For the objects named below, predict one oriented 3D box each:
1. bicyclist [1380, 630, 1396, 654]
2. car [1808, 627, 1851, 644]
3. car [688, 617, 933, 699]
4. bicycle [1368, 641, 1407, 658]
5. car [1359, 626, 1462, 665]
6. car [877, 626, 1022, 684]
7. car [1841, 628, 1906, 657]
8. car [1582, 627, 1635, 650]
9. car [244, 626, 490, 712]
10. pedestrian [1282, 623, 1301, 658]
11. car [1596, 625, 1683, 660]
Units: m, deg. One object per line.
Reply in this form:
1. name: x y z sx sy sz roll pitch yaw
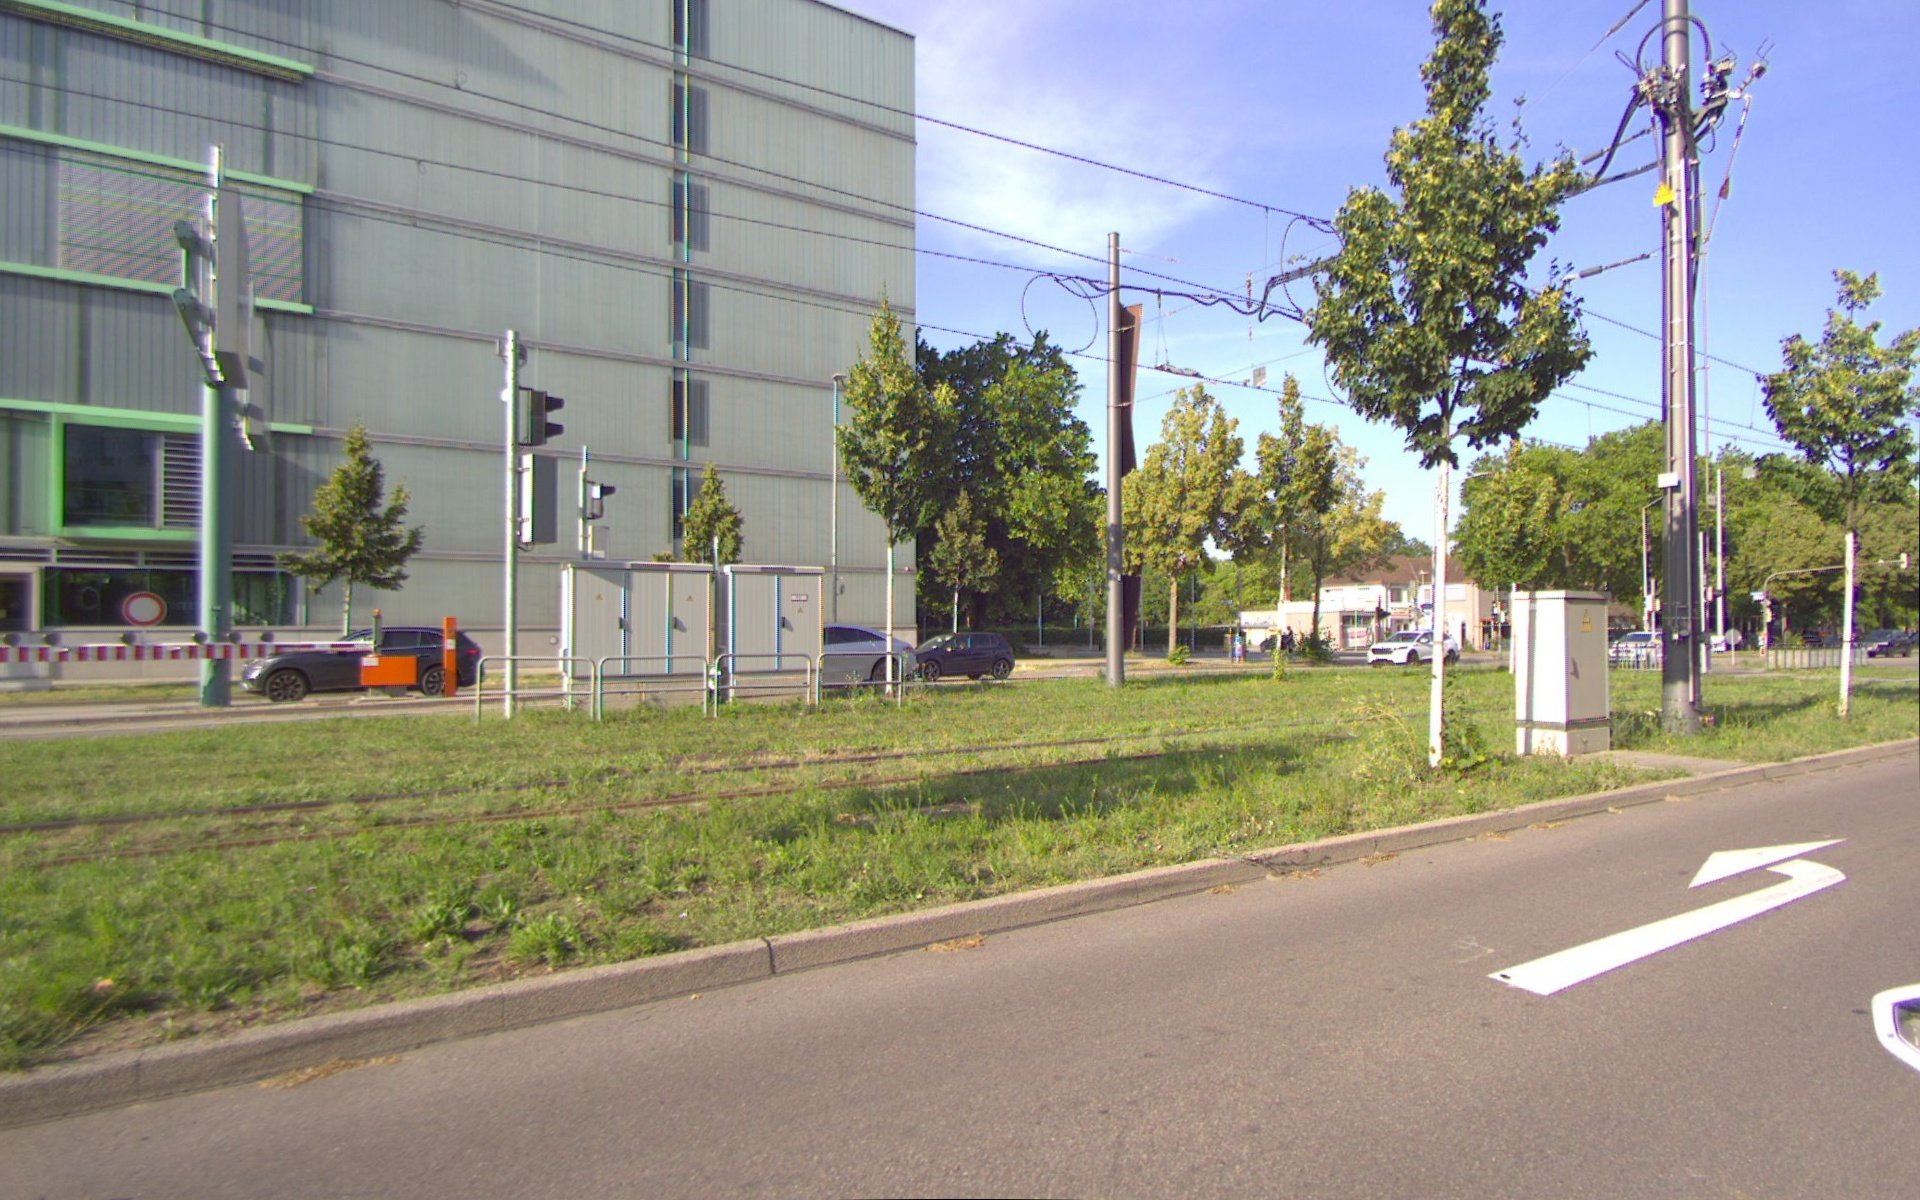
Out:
1. bicyclist: 27.277 2.656 64.038 0.836 1.512 0.697 -1 -2 36
2. car: 85.649 3.503 98.924 3.949 1.580 1.875 1 -2 -27
3. car: -3.112 1.214 21.545 4.871 1.547 1.979 1 -5 -39
4. bicycle: 27.265 3.126 64.034 2.166 1.055 0.697 -1 -2 36
5. car: 19.184 1.904 42.726 4.393 1.548 1.895 0 -1 -33
6. car: -0.305 1.640 30.924 4.133 1.656 1.899 1 -2 -32
7. car: 57.186 2.650 62.850 4.944 1.707 1.981 0 -2 -35
8. car: 51.974 3.071 80.511 3.949 1.773 1.875 1 -2 -27
9. car: -13.182 1.453 22.528 4.567 1.709 1.982 0 -1 -33
10. pedestrian: 20.455 2.525 62.022 0.864 2.135 0.724 -1 -3 -3
11. car: 31.867 1.975 47.108 4.268 1.548 1.981 0 -2 -35
